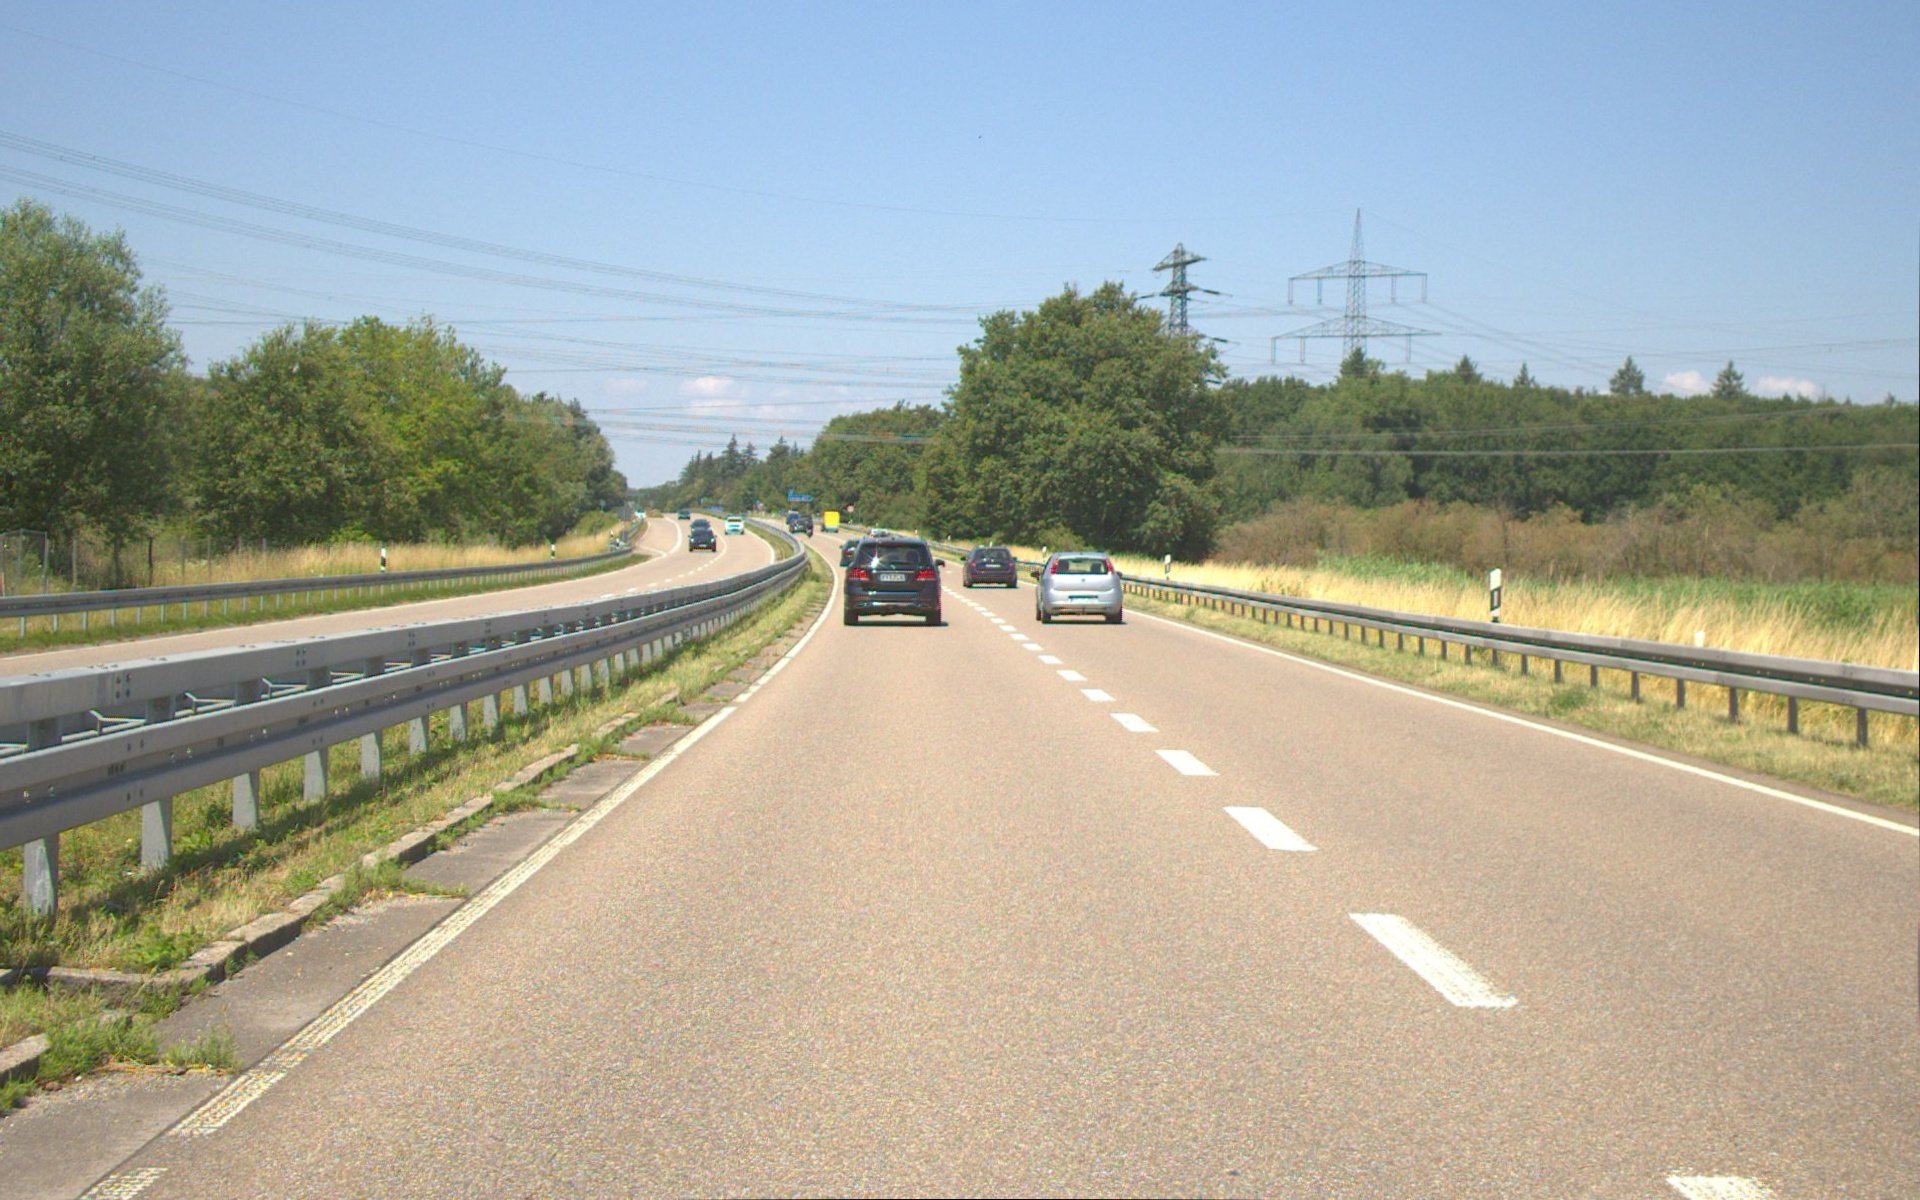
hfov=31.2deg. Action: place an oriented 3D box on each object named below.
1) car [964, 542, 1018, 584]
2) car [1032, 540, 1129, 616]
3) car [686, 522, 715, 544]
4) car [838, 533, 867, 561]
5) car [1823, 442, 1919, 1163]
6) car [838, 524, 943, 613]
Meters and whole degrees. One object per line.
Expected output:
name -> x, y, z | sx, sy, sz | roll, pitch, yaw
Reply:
car -> 1.088, -1.314, 120.741 | 1.819, 1.409, 4.000 | 2, 1, 0
car -> 2.495, -0.481, 71.843 | 1.779, 1.474, 4.316 | 2, 1, -1
car -> -18.691, -4.803, 247.780 | 1.831, 1.470, 3.684 | 4, 1, -1
car -> -5.854, -2.880, 187.337 | 1.514, 1.470, 3.066 | 2, 1, -2
car -> 3.326, 0.539, 7.444 | 1.780, 1.810, 4.213 | 1, 1, -1
car -> -1.373, -0.644, 68.693 | 1.993, 1.649, 4.000 | 2, 1, -1
